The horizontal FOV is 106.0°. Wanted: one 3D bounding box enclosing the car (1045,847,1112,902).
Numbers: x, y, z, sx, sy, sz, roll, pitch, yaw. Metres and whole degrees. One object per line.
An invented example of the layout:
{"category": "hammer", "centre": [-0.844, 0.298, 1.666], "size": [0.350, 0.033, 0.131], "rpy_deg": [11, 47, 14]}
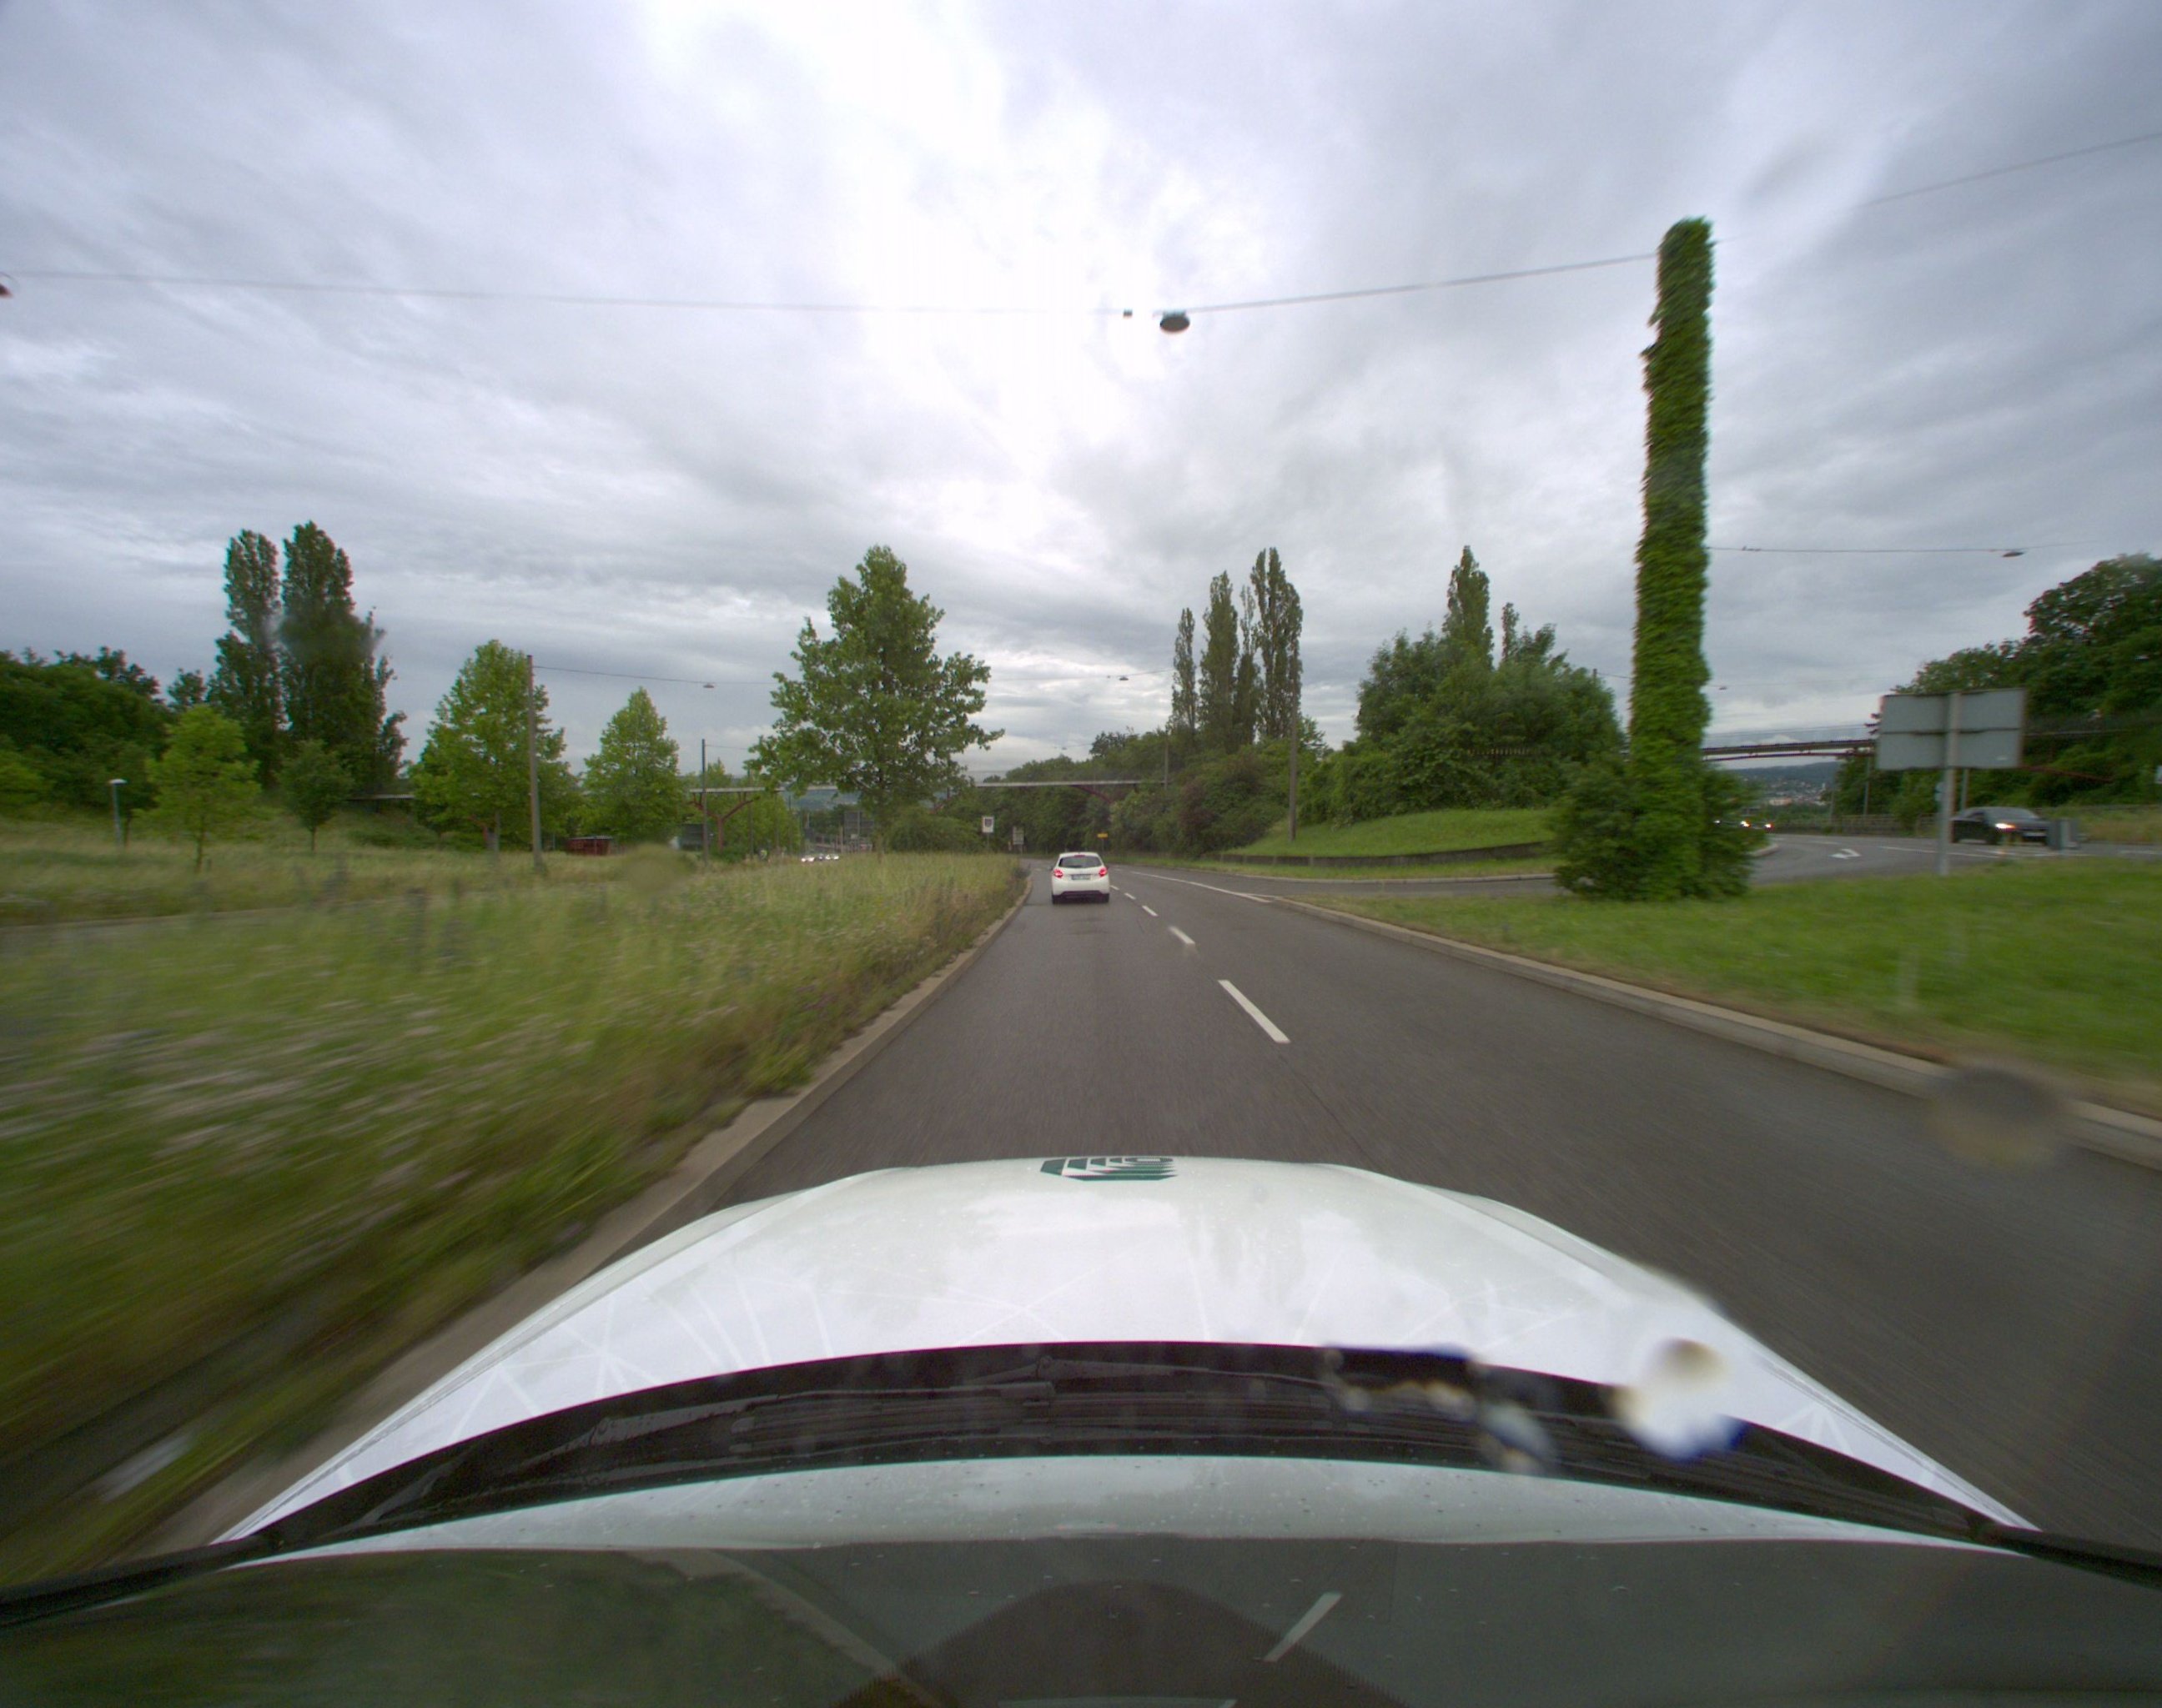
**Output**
{"category": "car", "centre": [-0.072, 0.556, 24.926], "size": [1.863, 1.510, 3.899], "rpy_deg": [0, 1, 0]}

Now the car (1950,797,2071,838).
{"category": "car", "centre": [34.794, -1.303, 30.622], "size": [1.654, 1.414, 3.941], "rpy_deg": [0, 1, 27]}

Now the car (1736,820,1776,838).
{"category": "car", "centre": [54.712, -1.993, 66.038], "size": [1.654, 1.414, 3.941], "rpy_deg": [0, 0, 27]}

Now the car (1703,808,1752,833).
{"category": "car", "centre": [40.437, -2.077, 51.043], "size": [1.654, 1.414, 3.941], "rpy_deg": [0, 0, 27]}
